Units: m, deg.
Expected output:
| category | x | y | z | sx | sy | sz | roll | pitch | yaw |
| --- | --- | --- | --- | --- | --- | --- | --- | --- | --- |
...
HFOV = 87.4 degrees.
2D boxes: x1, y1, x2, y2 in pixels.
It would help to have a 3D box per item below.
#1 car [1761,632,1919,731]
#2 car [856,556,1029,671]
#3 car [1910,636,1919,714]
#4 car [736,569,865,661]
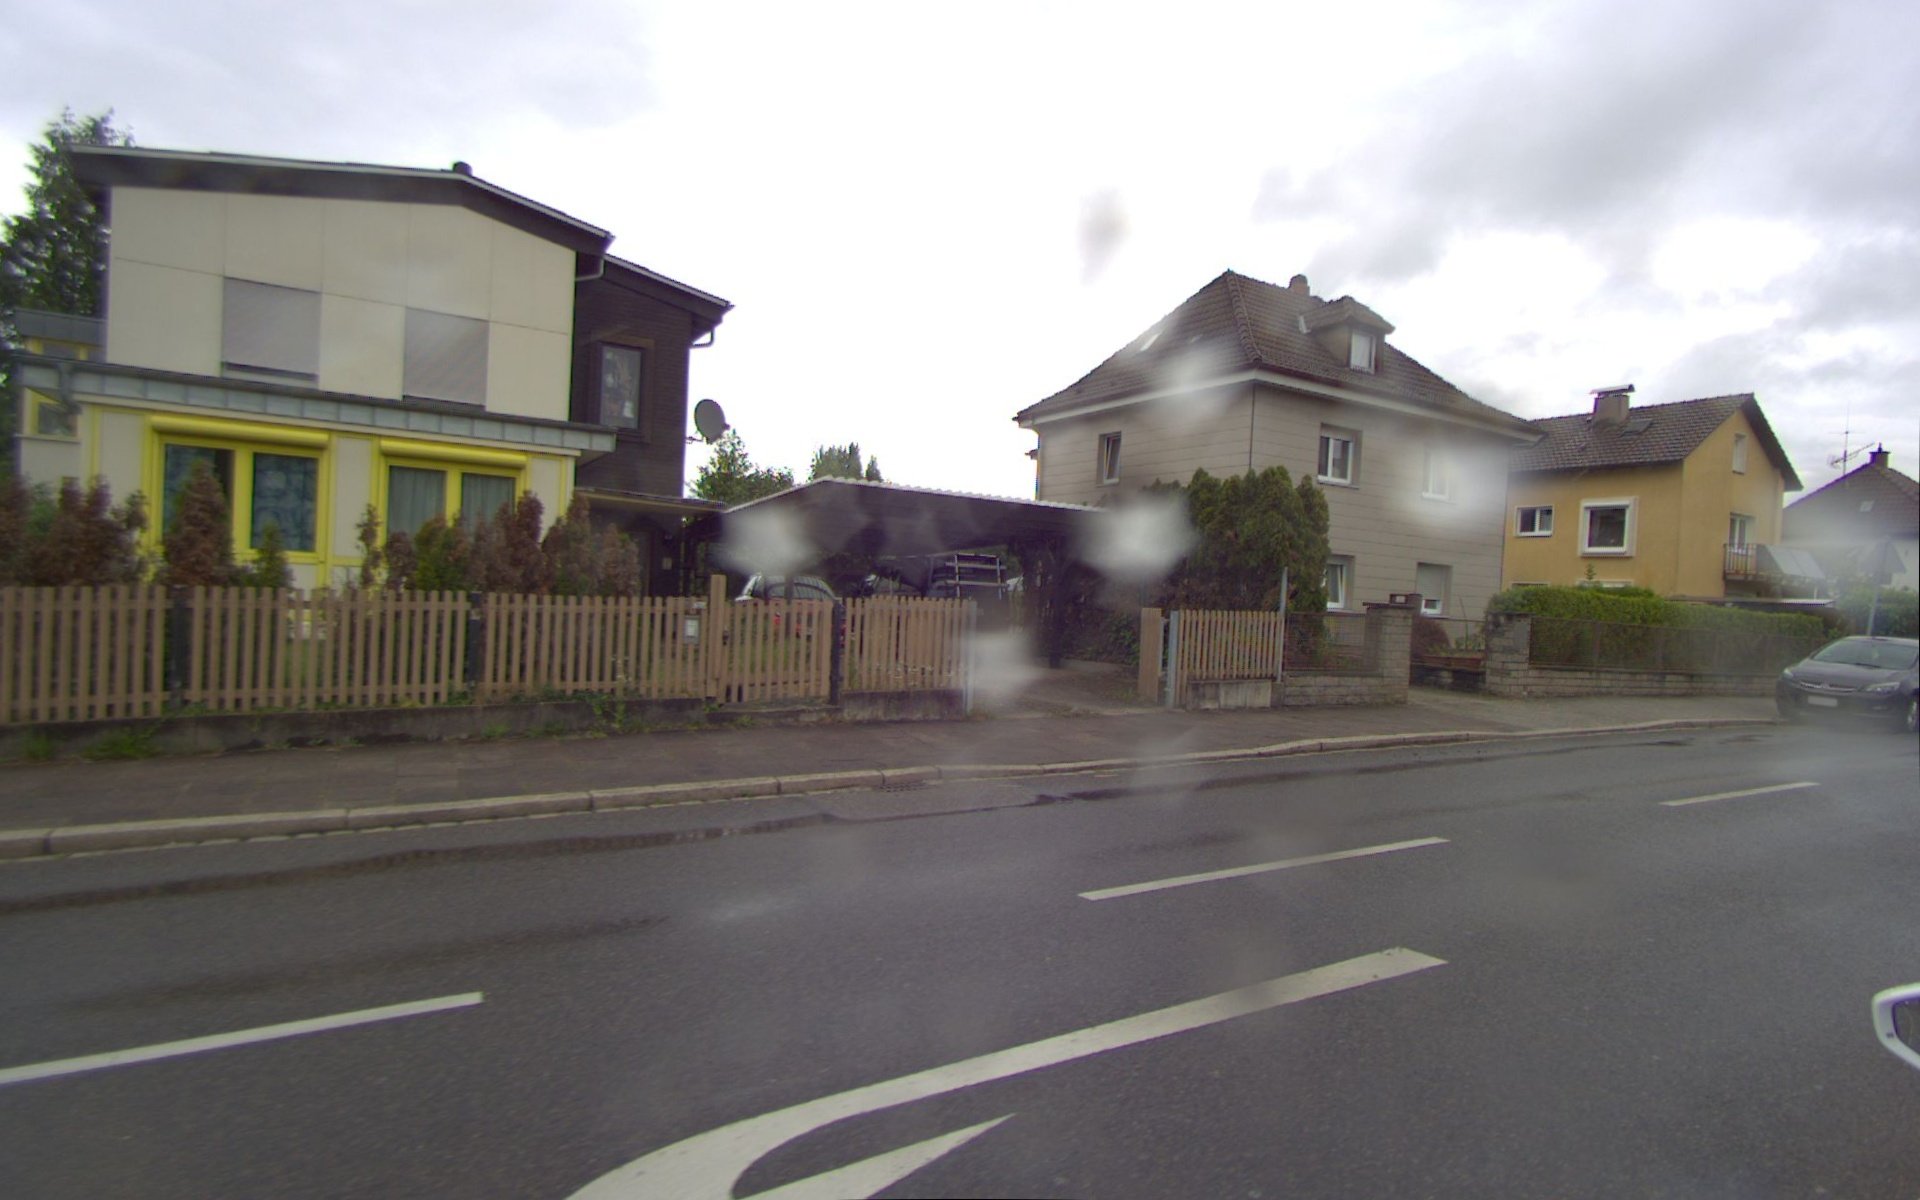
| category | x | y | z | sx | sy | sz | roll | pitch | yaw |
| --- | --- | --- | --- | --- | --- | --- | --- | --- | --- |
| car | 15.786 | 1.385 | 17.275 | 4.081 | 1.458 | 1.742 | 3 | -1 | -30 |
| car | -0.456 | 0.292 | 19.551 | 1.973 | 1.980 | 3.976 | 1 | -1 | -24 |
| car | 21.130 | 1.602 | 20.315 | 4.479 | 1.537 | 1.740 | 3 | -1 | -33 |
| car | -3.117 | 0.301 | 19.234 | 1.572 | 1.603 | 3.168 | 1 | -1 | -26 |
